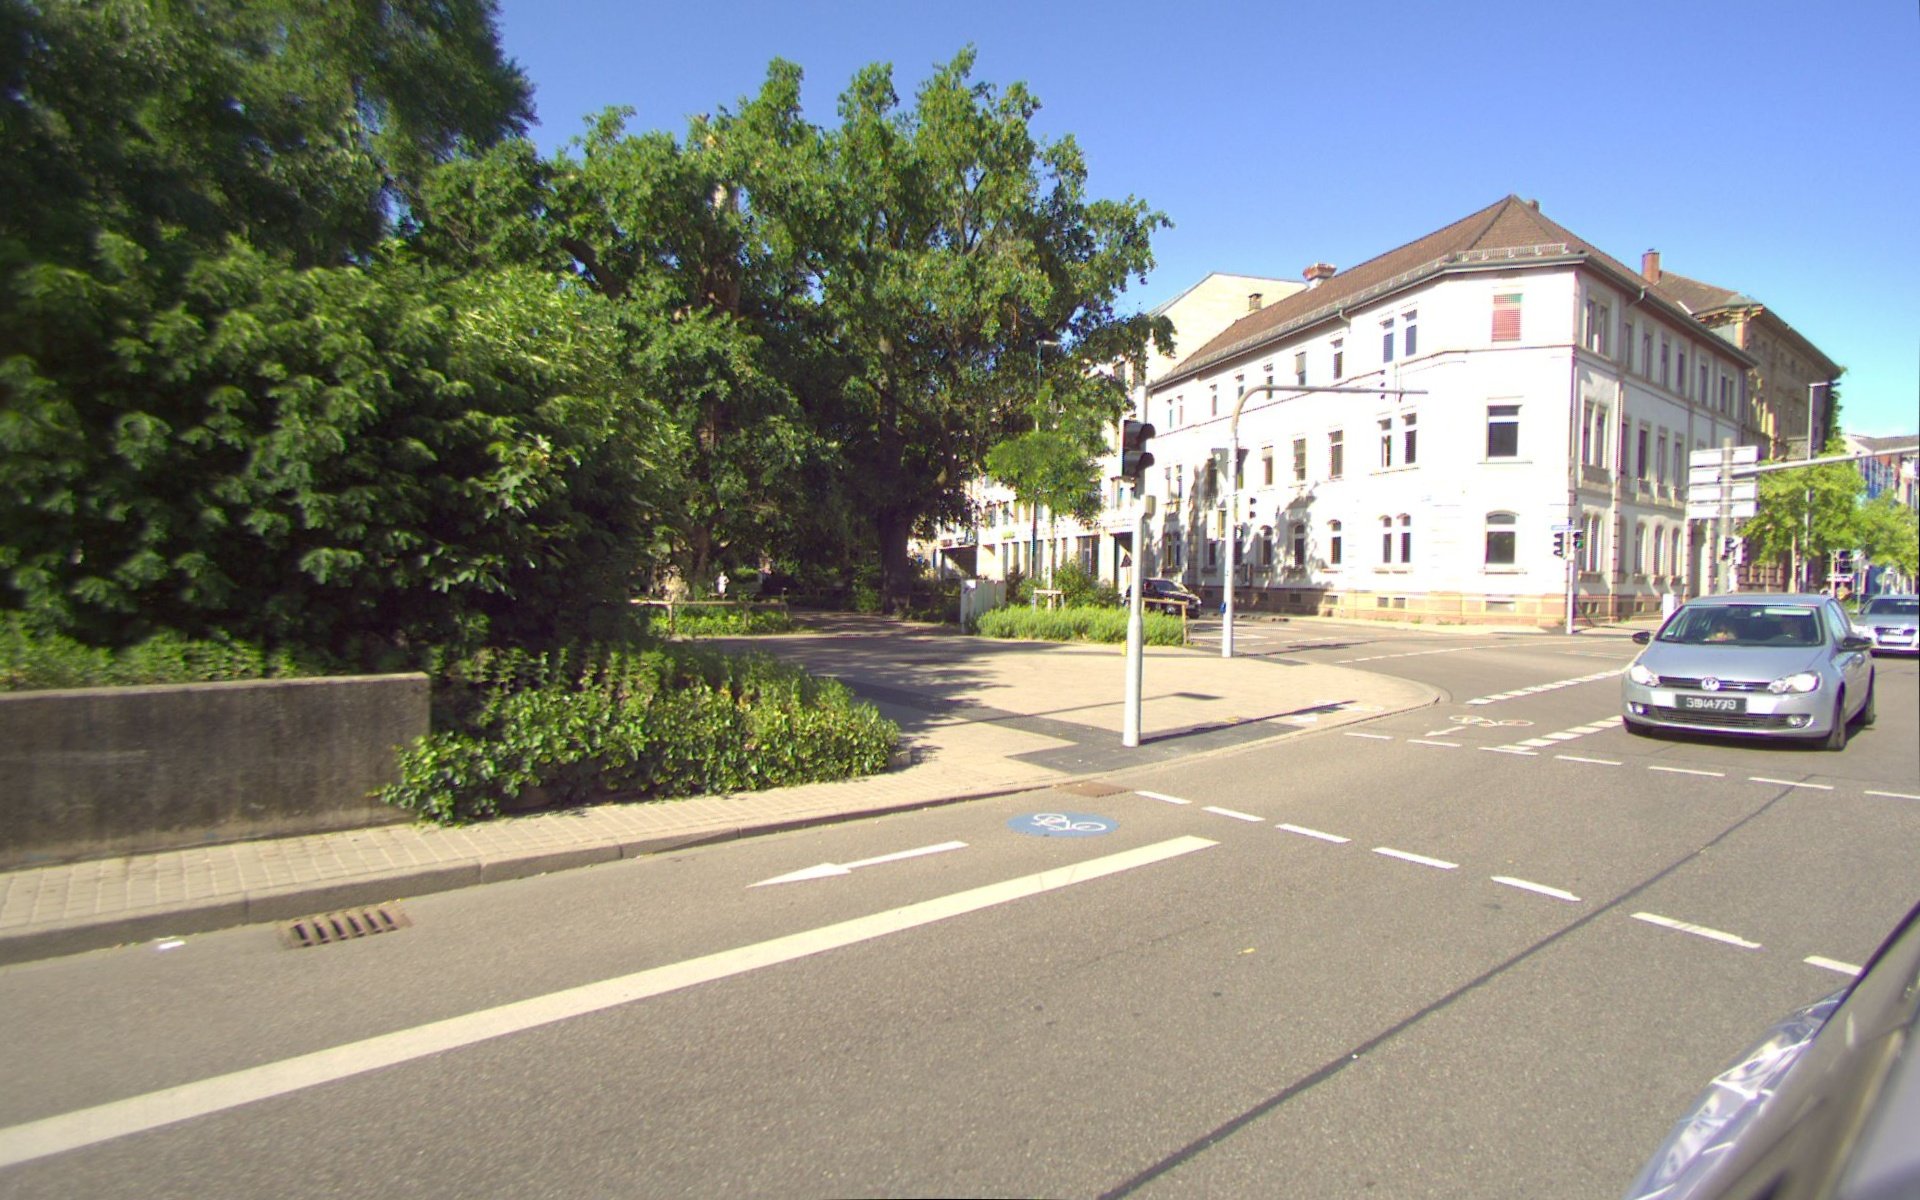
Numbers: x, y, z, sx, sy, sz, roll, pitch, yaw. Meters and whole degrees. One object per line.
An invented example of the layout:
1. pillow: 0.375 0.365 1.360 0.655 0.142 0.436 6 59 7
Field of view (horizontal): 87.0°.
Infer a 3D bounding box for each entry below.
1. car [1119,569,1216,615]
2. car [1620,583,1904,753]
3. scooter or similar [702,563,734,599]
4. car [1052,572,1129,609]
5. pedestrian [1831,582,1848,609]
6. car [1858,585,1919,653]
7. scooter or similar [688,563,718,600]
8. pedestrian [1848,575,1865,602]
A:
1. car: 7.545 -0.317 37.142 1.696 1.501 4.009 3 0 -17
2. car: 8.683 0.563 10.840 3.930 1.493 1.702 -1 1 -41
3. scooter or similar: -12.789 -0.983 53.434 0.742 1.861 3.235 0 1 -30
4. car: 5.601 -0.454 43.994 1.821 1.457 4.009 2 1 -16
5. pedestrian: 52.530 -0.264 60.456 0.891 1.581 0.668 0 0 -42
6. car: 21.942 0.389 22.987 3.930 1.442 1.838 -1 1 -41
7. scooter or similar: -13.537 -0.979 53.233 0.742 1.861 3.235 0 1 -30
8. pedestrian: 53.066 -0.663 59.877 0.891 1.581 0.668 0 0 -42
